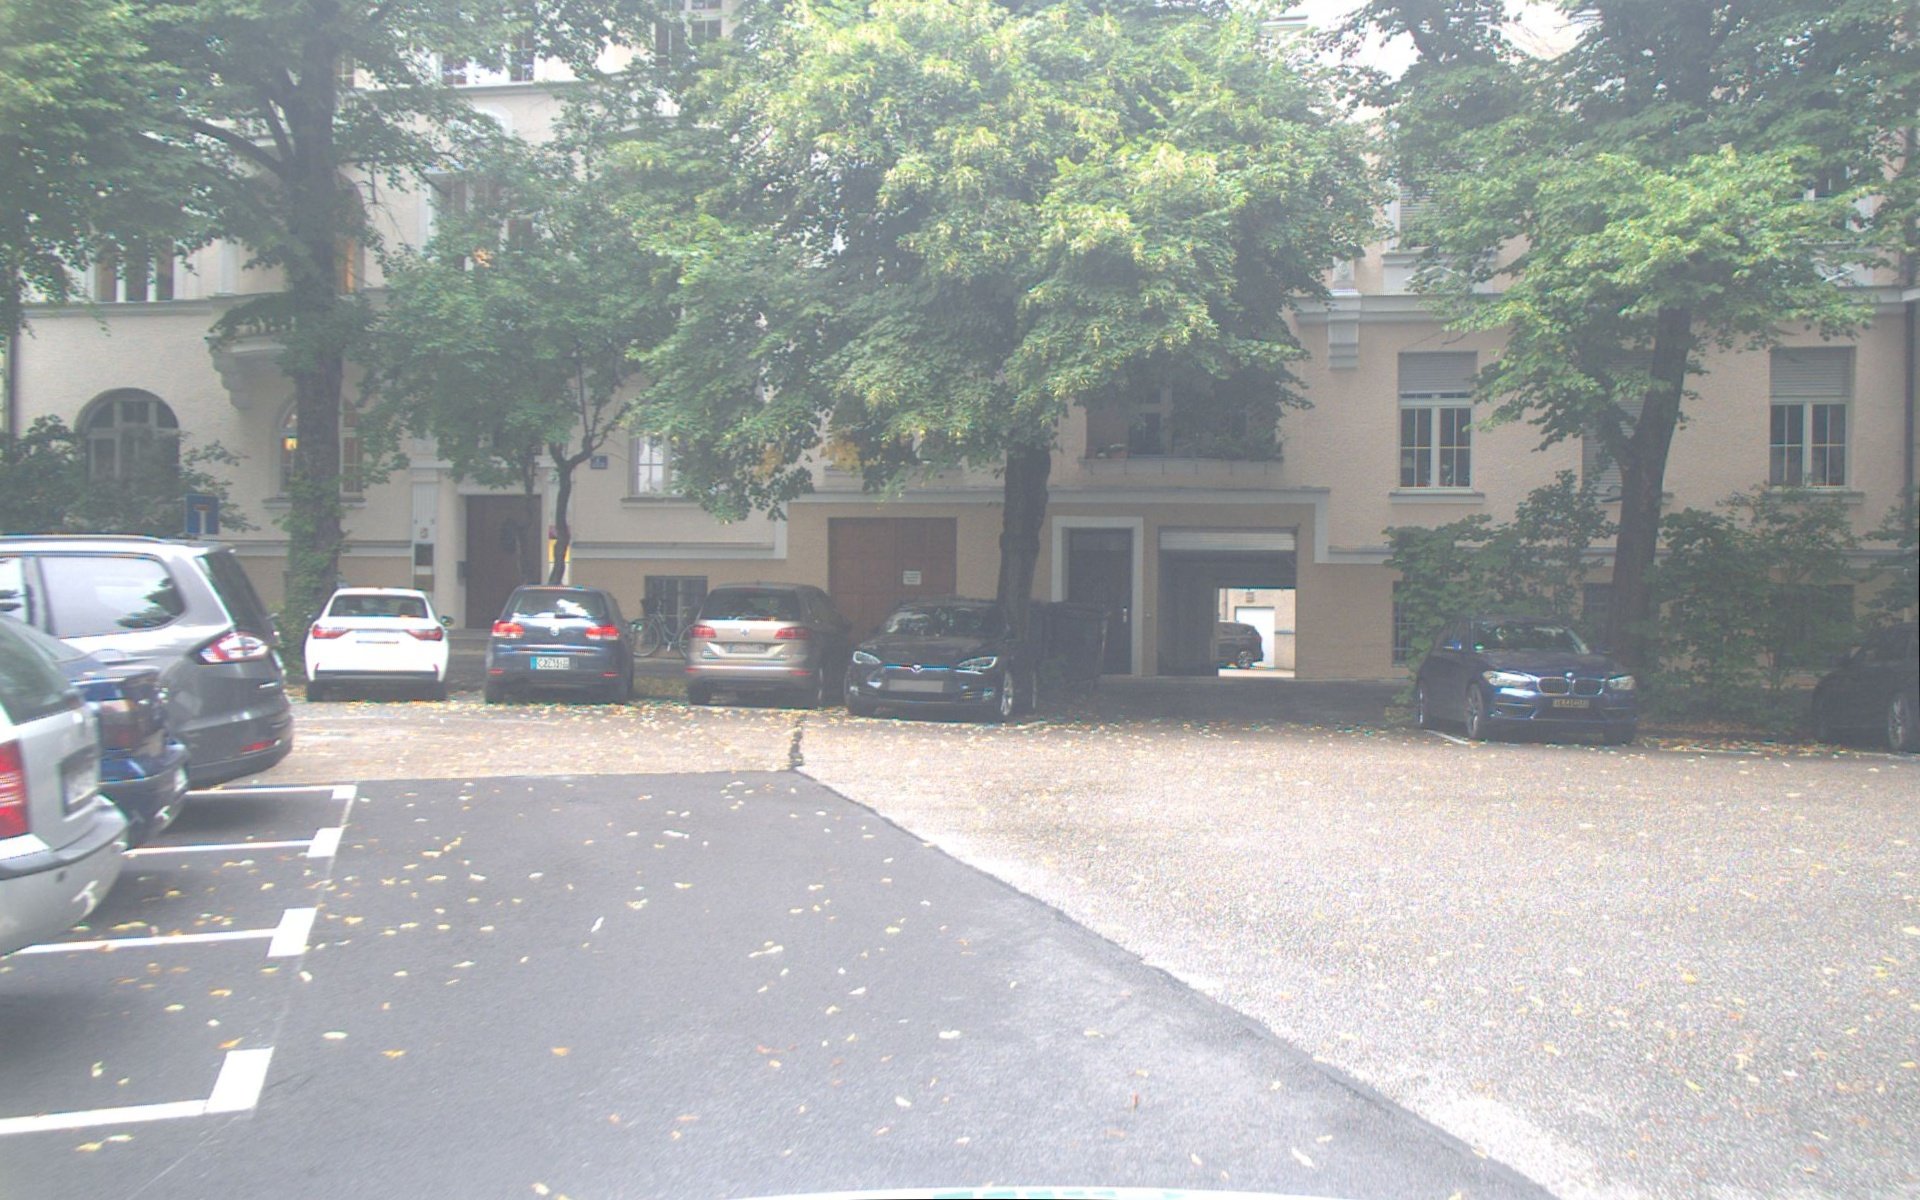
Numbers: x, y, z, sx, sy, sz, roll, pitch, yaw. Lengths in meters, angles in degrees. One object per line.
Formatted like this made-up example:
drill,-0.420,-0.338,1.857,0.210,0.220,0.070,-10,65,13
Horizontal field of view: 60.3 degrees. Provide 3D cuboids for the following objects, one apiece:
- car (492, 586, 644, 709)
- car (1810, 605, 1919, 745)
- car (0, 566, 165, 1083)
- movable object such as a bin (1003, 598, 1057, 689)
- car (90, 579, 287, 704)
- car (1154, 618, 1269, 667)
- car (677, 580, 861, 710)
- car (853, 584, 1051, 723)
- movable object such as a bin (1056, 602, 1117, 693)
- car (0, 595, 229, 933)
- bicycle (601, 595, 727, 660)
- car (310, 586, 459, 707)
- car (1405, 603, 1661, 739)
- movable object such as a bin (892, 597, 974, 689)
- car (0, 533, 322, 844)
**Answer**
car,-5.144,0.567,21.906,1.760,1.456,3.987,1,0,-13
car,11.245,0.863,18.740,1.818,1.450,4.166,0,-2,12
car,-4.780,0.711,4.889,4.167,1.480,1.711,-2,1,-21
movable object such as a bin,1.108,0.664,25.876,0.697,1.371,1.374,1,0,8
car,-10.339,0.503,22.443,1.839,1.536,3.981,1,0,-17
car,8.613,1.443,56.881,3.764,1.545,1.657,1,0,3
car,-2.459,0.551,22.240,1.800,1.557,4.026,1,0,3
car,0.018,0.671,20.672,1.667,1.492,4.291,2,-2,10
movable object such as a bin,1.961,0.713,25.525,0.844,1.328,1.433,3,0,6
car,-5.512,0.740,7.335,4.000,1.391,1.707,-2,1,-21
bicycle,-5.424,0.499,30.332,2.181,1.135,0.577,1,0,9
car,-7.592,0.563,22.114,1.691,1.456,3.981,1,0,-17
car,6.595,0.778,19.525,1.800,1.407,4.344,0,-1,4
movable object such as a bin,-0.406,0.663,26.031,1.125,1.372,1.157,1,1,6
car,-6.101,0.512,9.965,4.161,1.713,1.890,-2,1,-22
